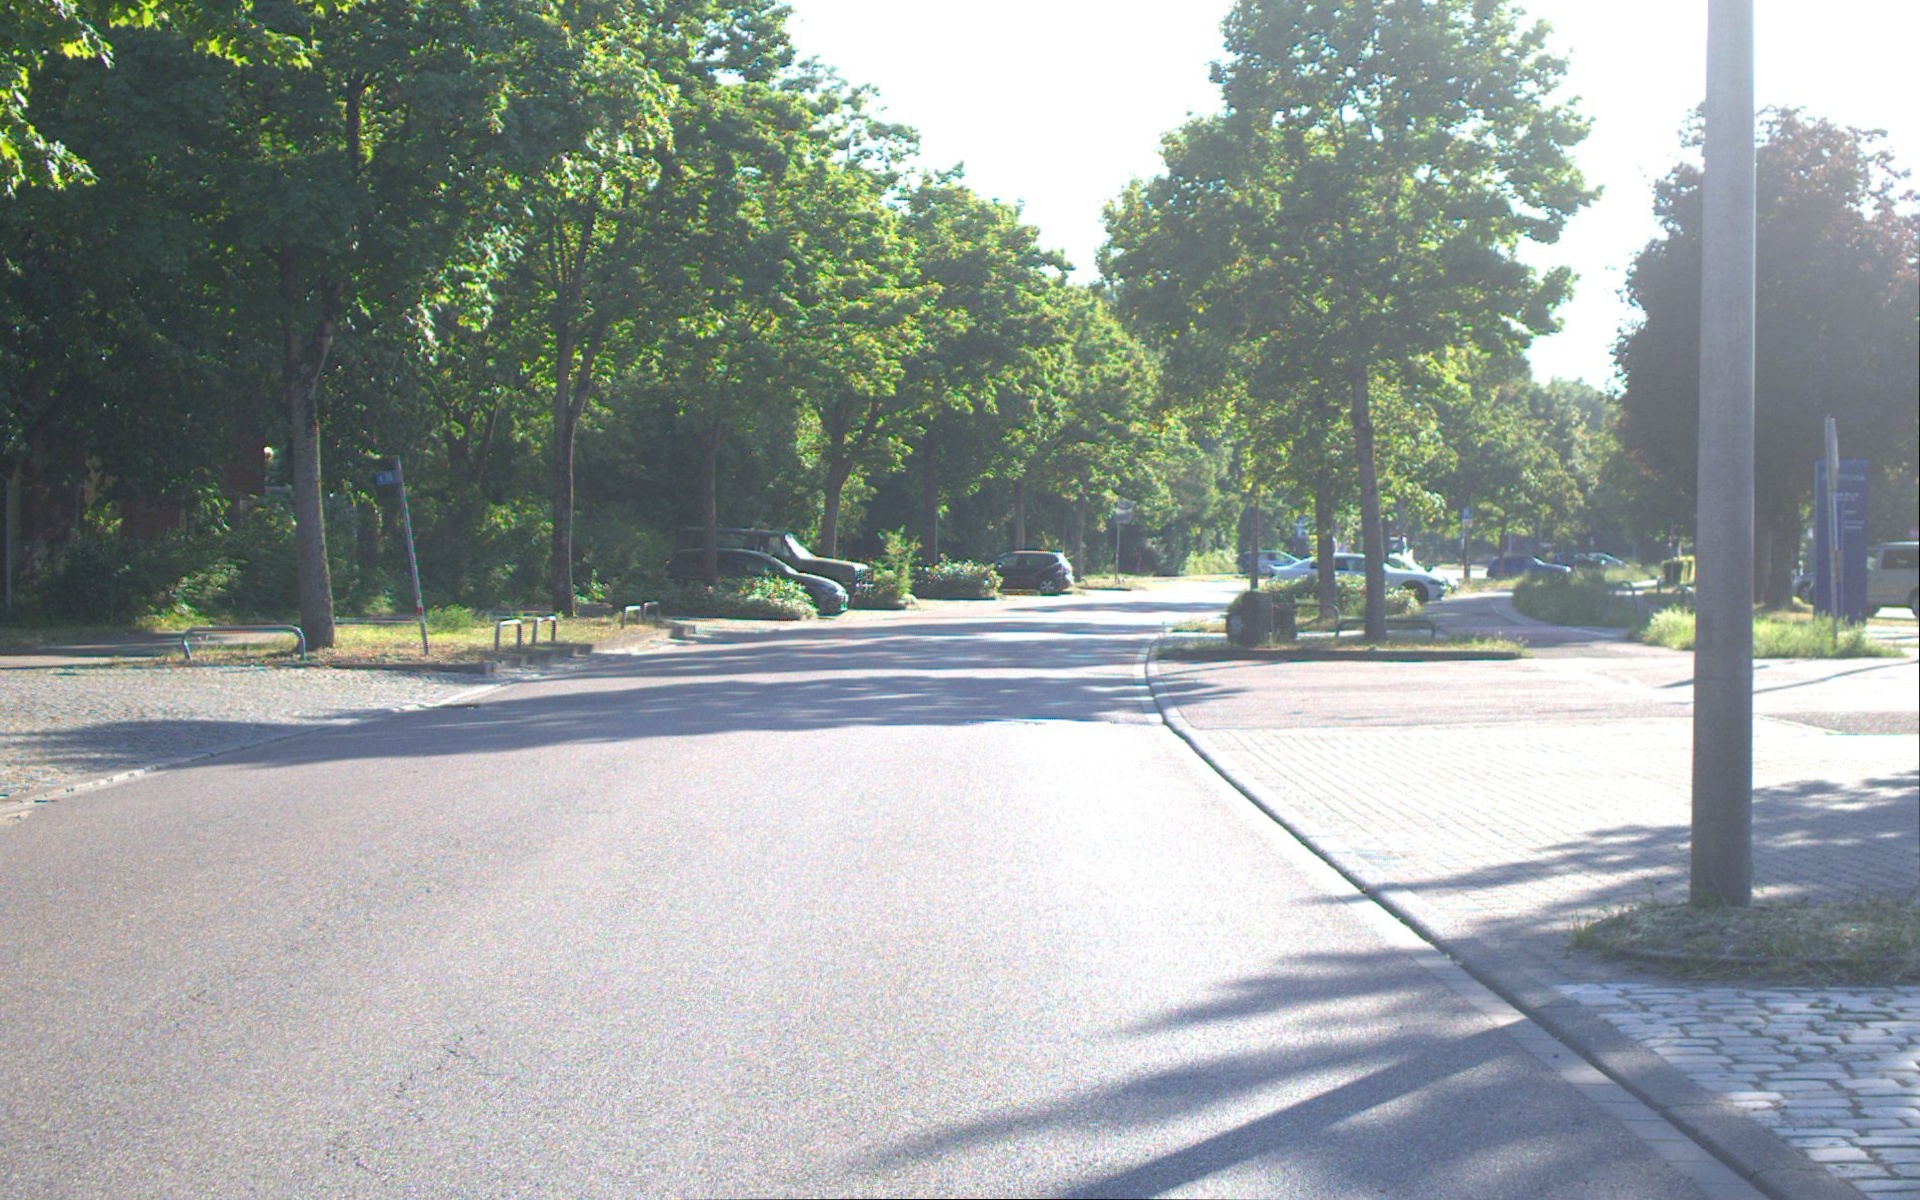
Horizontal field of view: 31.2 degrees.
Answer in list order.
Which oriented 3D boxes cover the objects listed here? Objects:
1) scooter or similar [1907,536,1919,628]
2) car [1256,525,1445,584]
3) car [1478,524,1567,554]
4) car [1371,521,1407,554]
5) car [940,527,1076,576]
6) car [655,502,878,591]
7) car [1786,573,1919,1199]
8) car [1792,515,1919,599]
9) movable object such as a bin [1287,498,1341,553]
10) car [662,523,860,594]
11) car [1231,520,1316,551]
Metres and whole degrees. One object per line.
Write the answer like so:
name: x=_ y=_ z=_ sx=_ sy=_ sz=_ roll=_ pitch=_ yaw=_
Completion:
scooter or similar: x=13.573 y=-0.248 z=47.776 sx=0.520 sy=1.267 sz=1.387 roll=0 pitch=1 yaw=4
car: x=10.897 y=-1.278 z=95.949 sx=5.177 sy=1.568 sz=2.157 roll=1 pitch=1 yaw=7
car: x=32.174 y=-3.475 z=196.531 sx=4.845 sy=1.474 sz=1.999 roll=3 pitch=2 yaw=14
car: x=31.265 y=-4.554 z=250.786 sx=2.517 sy=2.378 sz=4.372 roll=1 pitch=1 yaw=6
car: x=1.668 y=-1.681 z=118.330 sx=4.360 sy=1.474 sz=1.999 roll=3 pitch=2 yaw=10
car: x=-4.562 y=-1.278 z=81.566 sx=5.006 sy=2.013 sz=2.174 roll=1 pitch=1 yaw=6
car: x=4.402 y=0.672 z=7.884 sx=4.481 sy=1.399 sz=2.034 roll=0 pitch=1 yaw=-1
car: x=22.958 y=-1.046 z=84.132 sx=1.994 sy=1.927 sz=4.954 roll=0 pitch=3 yaw=-33
movable object such as a bin: x=20.859 y=-4.391 z=202.339 sx=2.839 sy=3.058 sz=4.925 roll=3 pitch=2 yaw=8
car: x=-4.469 y=-0.945 z=77.507 sx=4.212 sy=1.525 sz=1.705 roll=1 pitch=1 yaw=6
car: x=17.348 y=-3.573 z=190.140 sx=4.361 sy=1.542 sz=1.999 roll=3 pitch=2 yaw=14
